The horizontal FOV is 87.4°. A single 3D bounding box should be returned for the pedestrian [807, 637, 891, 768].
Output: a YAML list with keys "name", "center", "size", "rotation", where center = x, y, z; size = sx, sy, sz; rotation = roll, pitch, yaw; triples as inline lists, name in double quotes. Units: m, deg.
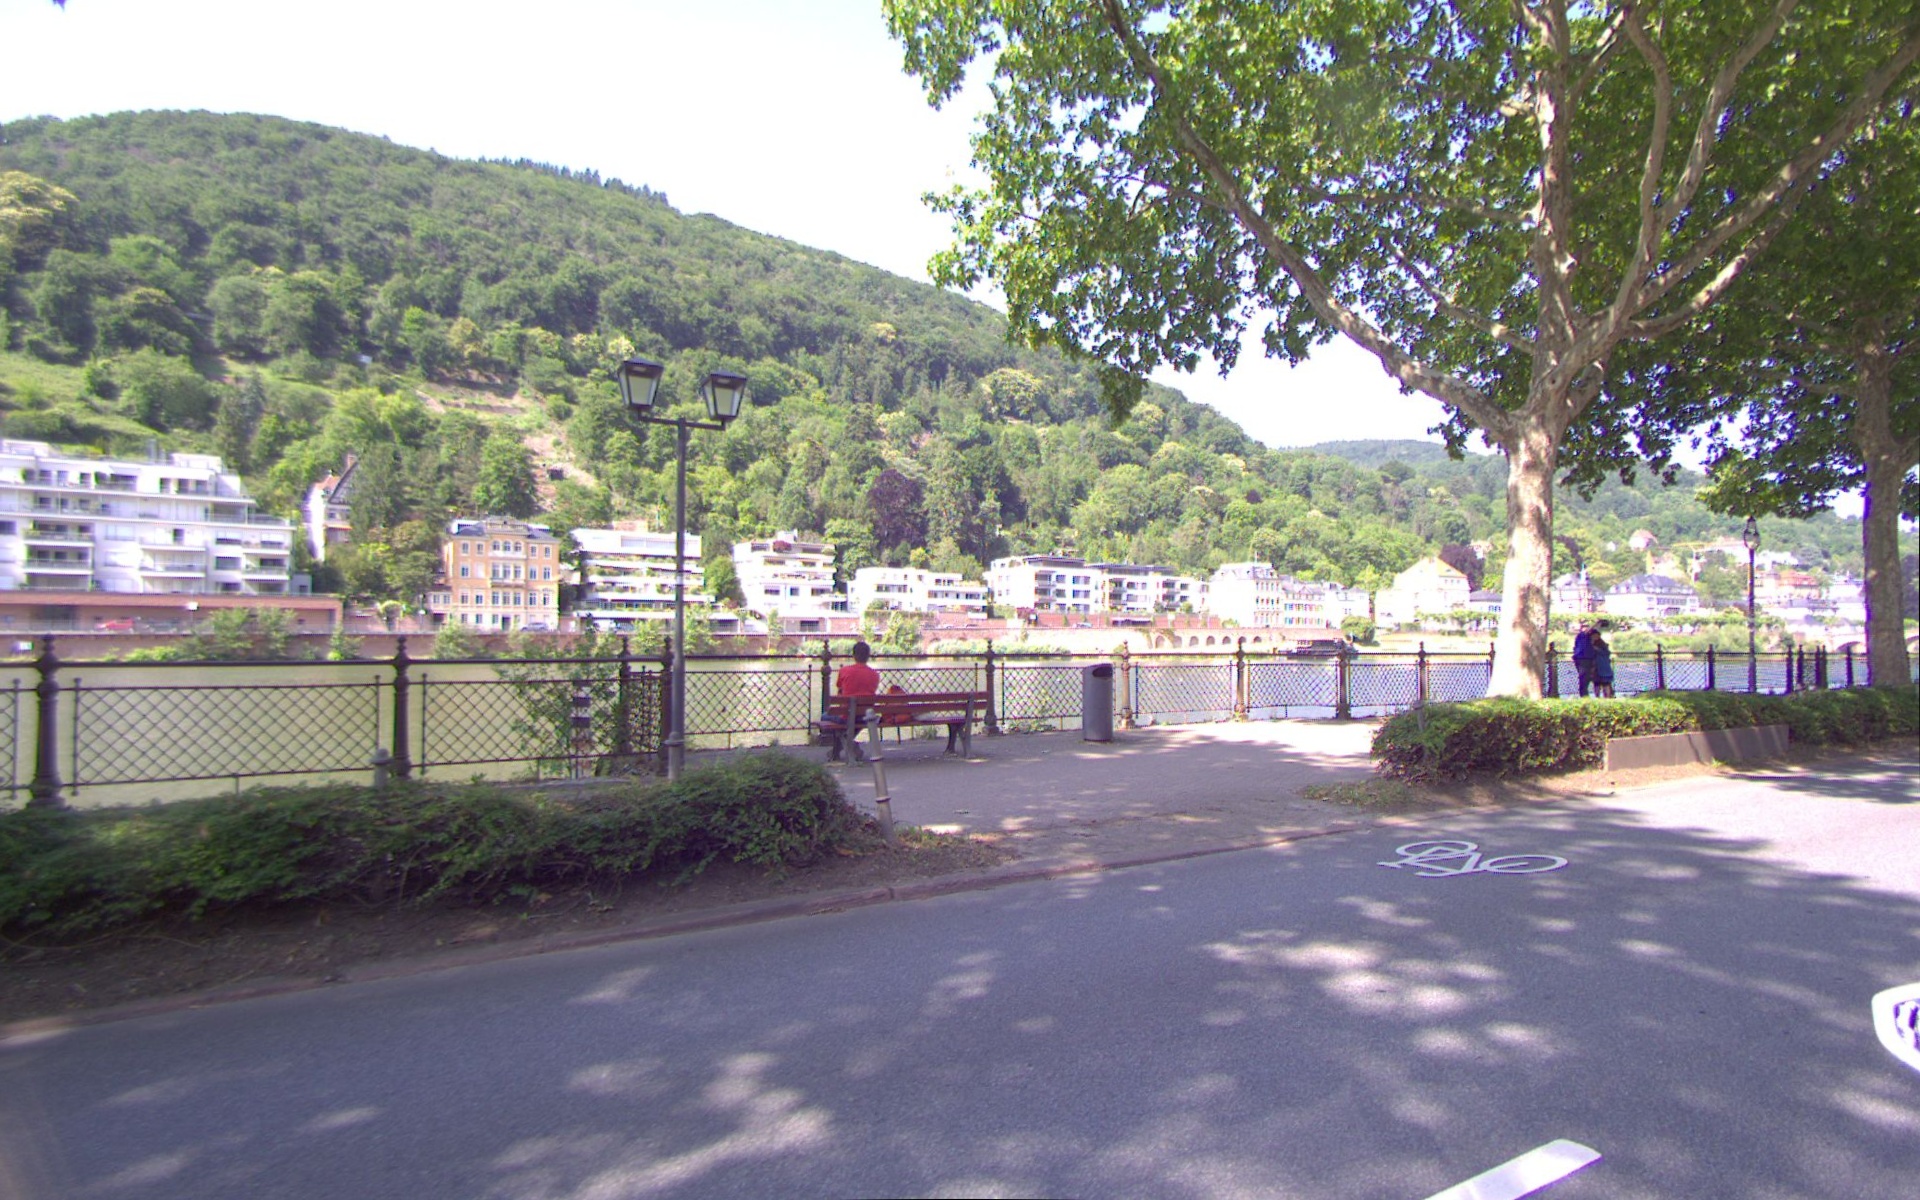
- name: "pedestrian"
  center: [-1.206, 1.083, 10.860]
  size: [0.649, 1.325, 0.699]
  rotation: [2, 0, -30]

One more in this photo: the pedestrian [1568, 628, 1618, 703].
- name: "pedestrian"
  center: [14.017, 1.445, 22.260]
  size: [0.696, 1.624, 0.701]
  rotation: [2, -2, -29]

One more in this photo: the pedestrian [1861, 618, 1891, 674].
- name: "pedestrian"
  center: [28.809, 1.446, 31.588]
  size: [0.399, 1.733, 0.581]
  rotation: [2, 0, -32]

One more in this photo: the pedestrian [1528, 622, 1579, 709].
- name: "pedestrian"
  center: [12.720, 1.385, 21.529]
  size: [0.696, 1.820, 0.701]
  rotation: [2, -2, -29]
